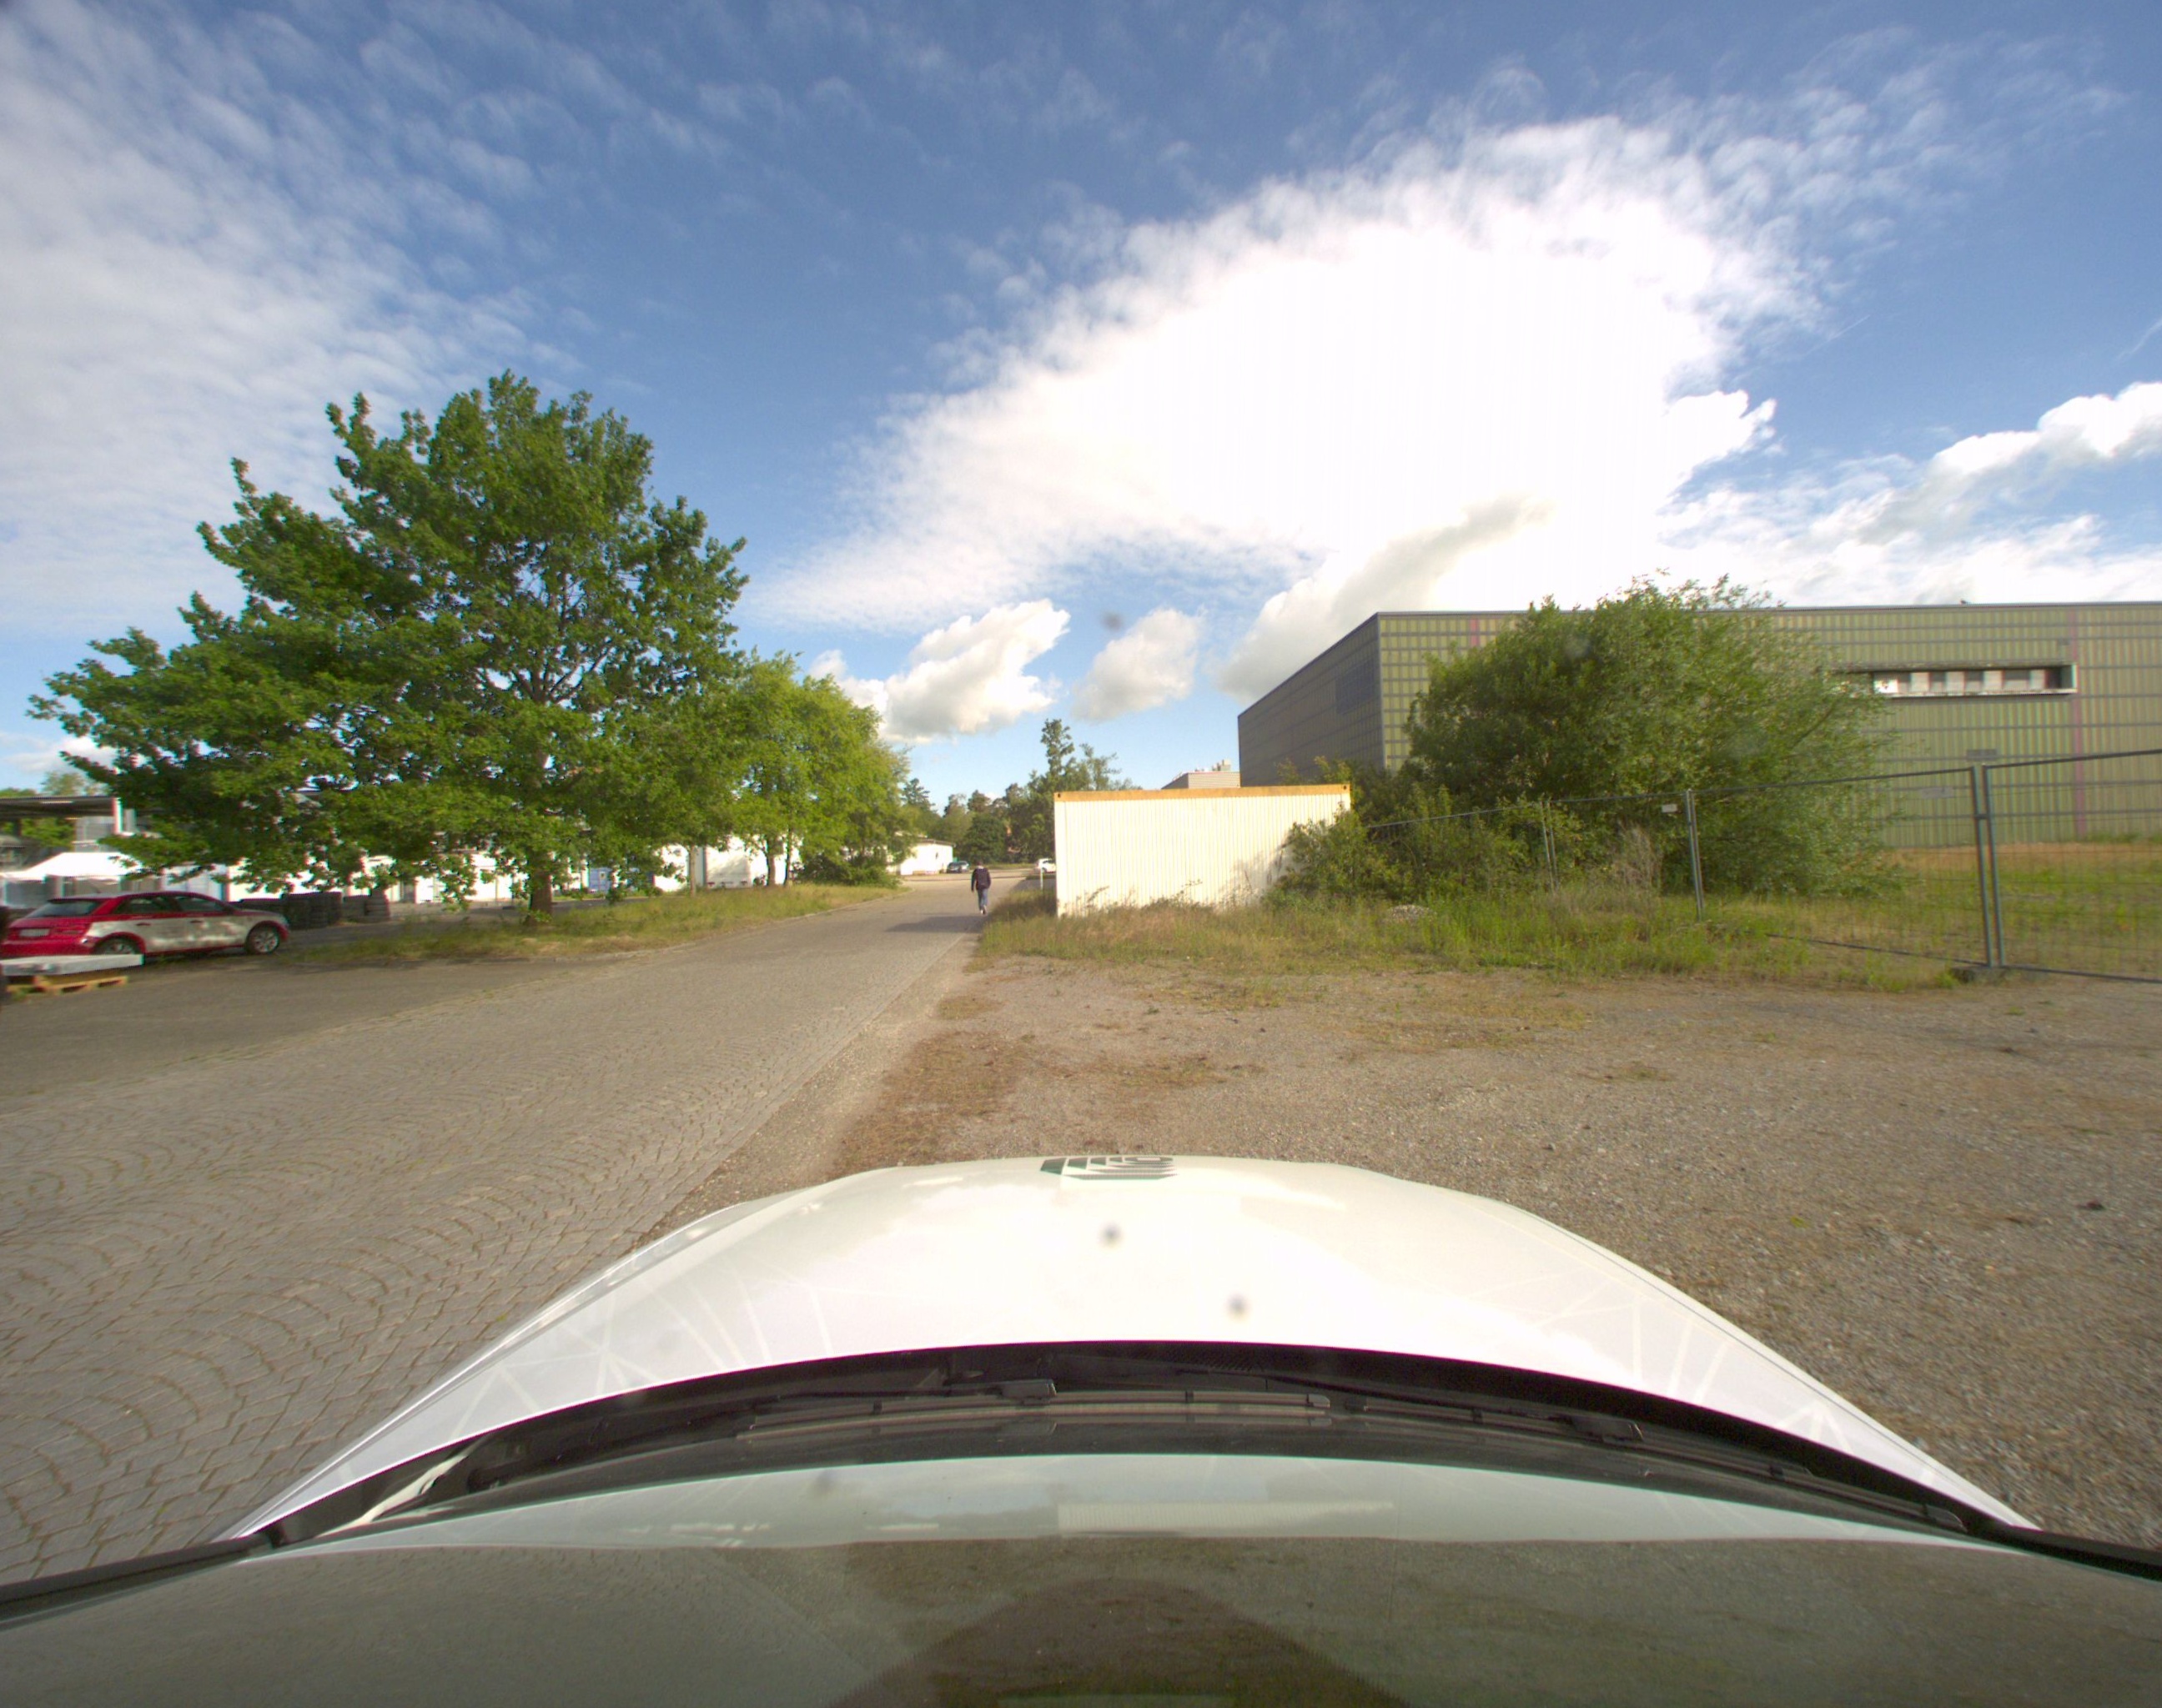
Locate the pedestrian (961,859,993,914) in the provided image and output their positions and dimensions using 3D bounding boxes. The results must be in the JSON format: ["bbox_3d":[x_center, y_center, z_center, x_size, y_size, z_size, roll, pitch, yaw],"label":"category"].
[{"bbox_3d":[-3.070,0.956,24.187,0.864,1.559,1.026,-2,-1,-6],"label":"pedestrian"}]

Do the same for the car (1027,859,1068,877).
[{"bbox_3d":[-3.354,1.411,83.071,3.971,1.643,2.001,-2,0,2],"label":"car"}]

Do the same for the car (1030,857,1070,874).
[{"bbox_3d":[-3.244,1.226,85.711,3.971,1.643,2.001,-2,0,2],"label":"car"}]

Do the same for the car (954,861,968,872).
[{"bbox_3d":[-17.171,1.779,116.524,1.993,1.376,3.987,-2,0,-9],"label":"car"}]

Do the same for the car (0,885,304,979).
[{"bbox_3d":[-18.302,1.444,16.160,1.715,1.464,4.004,-2,0,4],"label":"car"}]

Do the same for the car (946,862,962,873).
[{"bbox_3d":[-16.610,1.782,106.270,1.993,1.371,3.987,-2,0,-9],"label":"car"}]

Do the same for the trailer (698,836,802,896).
[{"bbox_3d":[-21.697,0.746,54.098,2.909,3.471,9.896,-2,0,-1],"label":"trailer"}]
